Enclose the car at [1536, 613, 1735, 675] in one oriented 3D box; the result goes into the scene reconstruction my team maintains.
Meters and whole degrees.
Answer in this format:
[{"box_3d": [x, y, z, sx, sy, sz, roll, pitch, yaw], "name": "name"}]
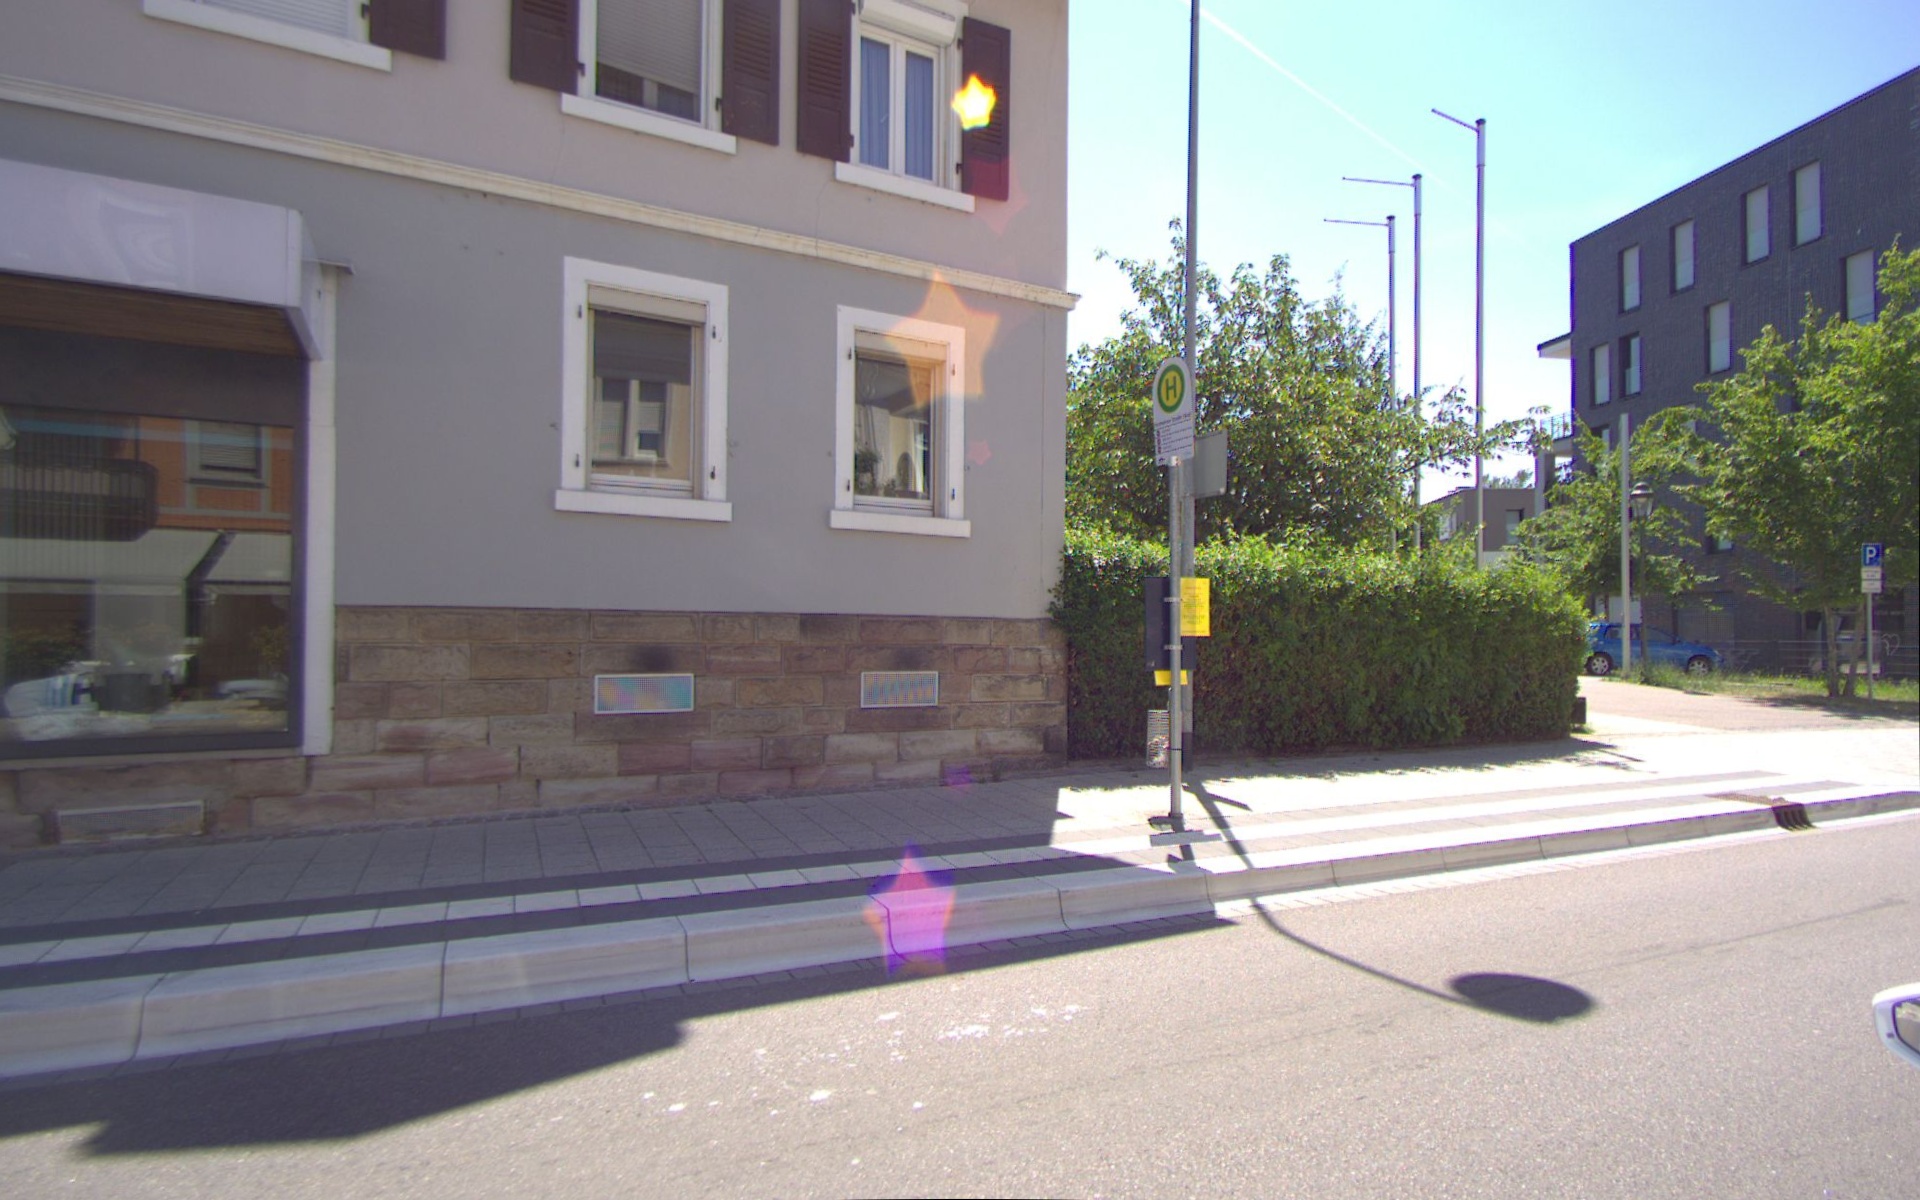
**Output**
[{"box_3d": [18.495, 1.180, 27.679, 4.084, 1.589, 2.001, 1, -1, 5], "name": "car"}]
